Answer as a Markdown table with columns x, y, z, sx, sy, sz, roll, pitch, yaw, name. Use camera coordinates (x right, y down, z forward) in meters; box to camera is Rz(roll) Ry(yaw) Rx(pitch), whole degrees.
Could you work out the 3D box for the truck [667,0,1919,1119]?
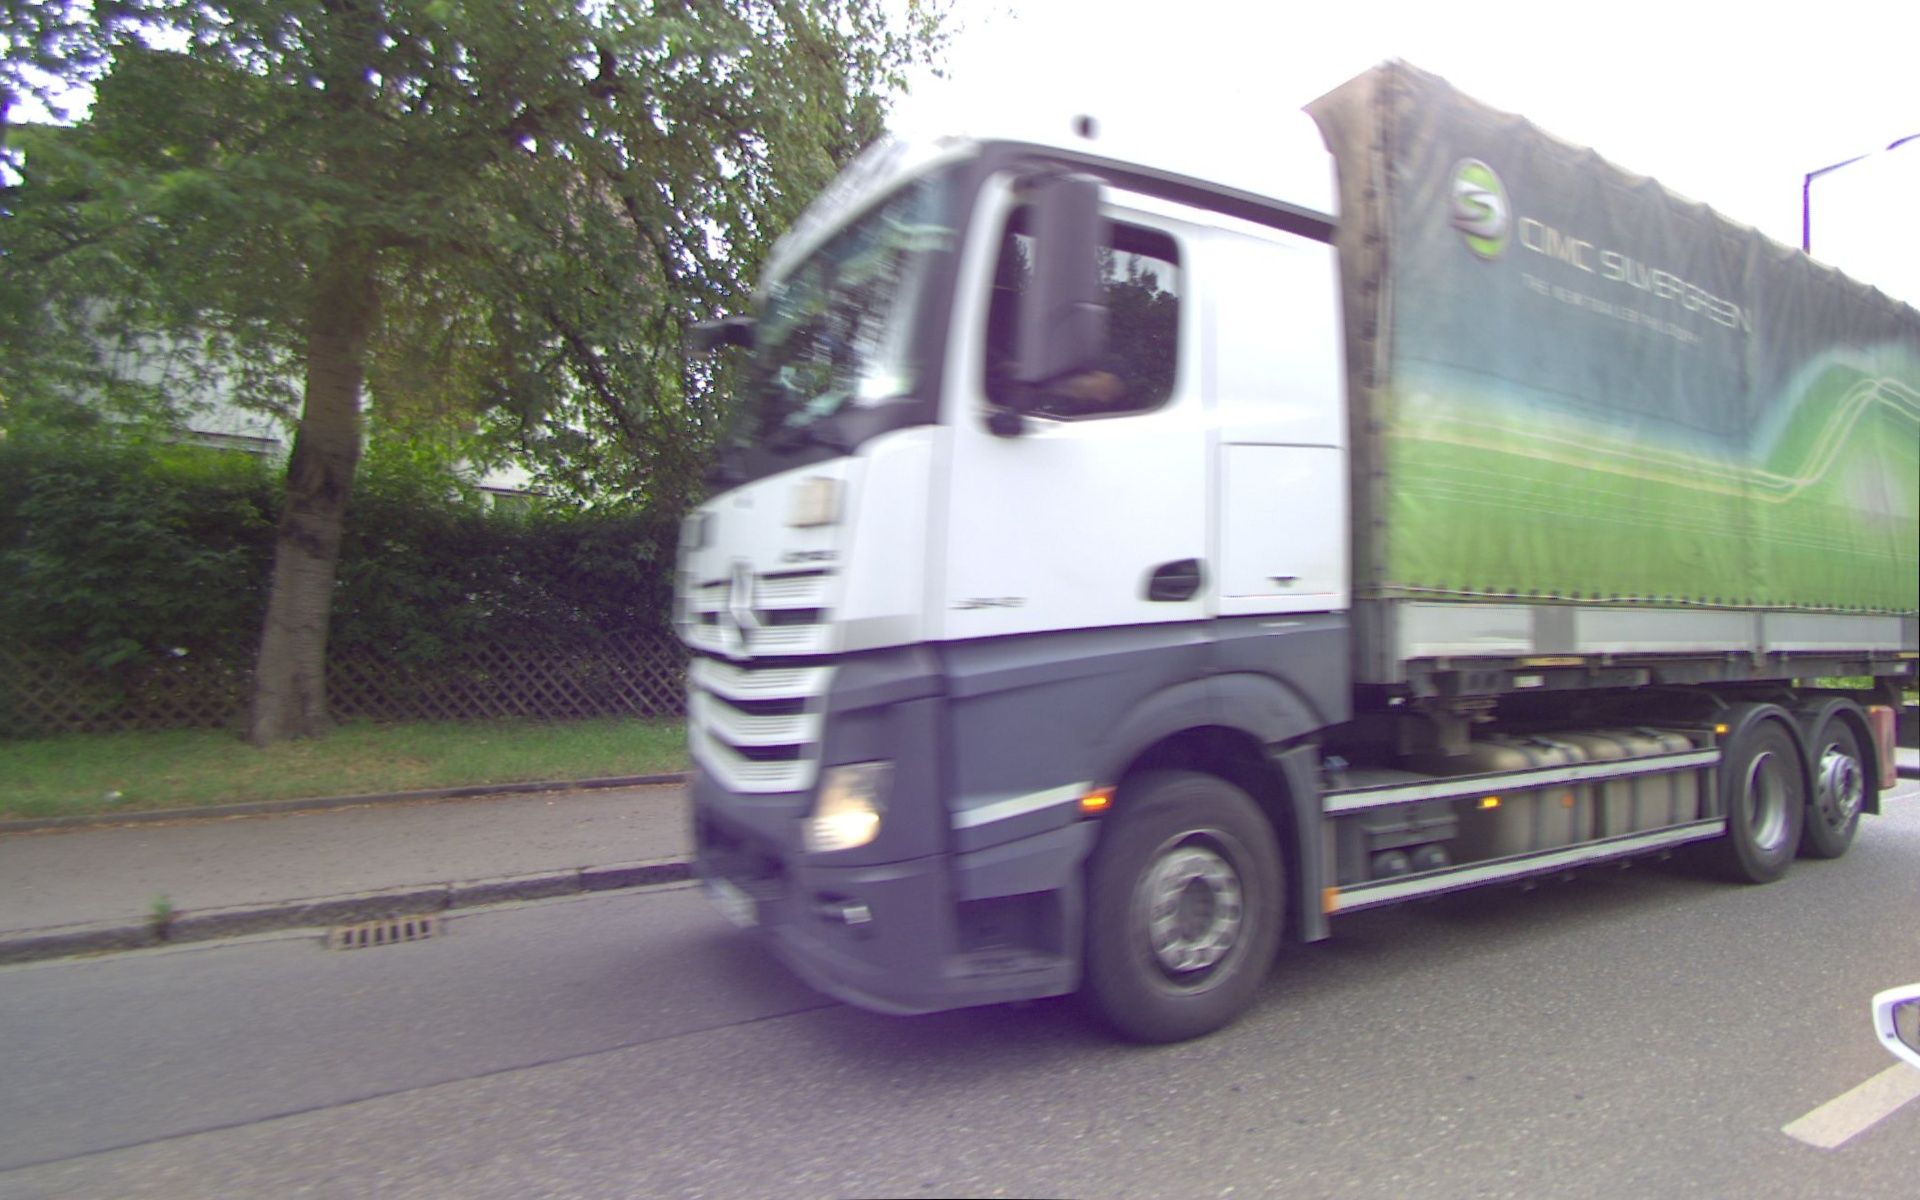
| x | y | z | sx | sy | sz | roll | pitch | yaw | name |
| --- | --- | --- | --- | --- | --- | --- | --- | --- | --- |
| 3.659 | -0.347 | 6.757 | 10.500 | 4.096 | 2.537 | 2 | -4 | -32 | truck |
